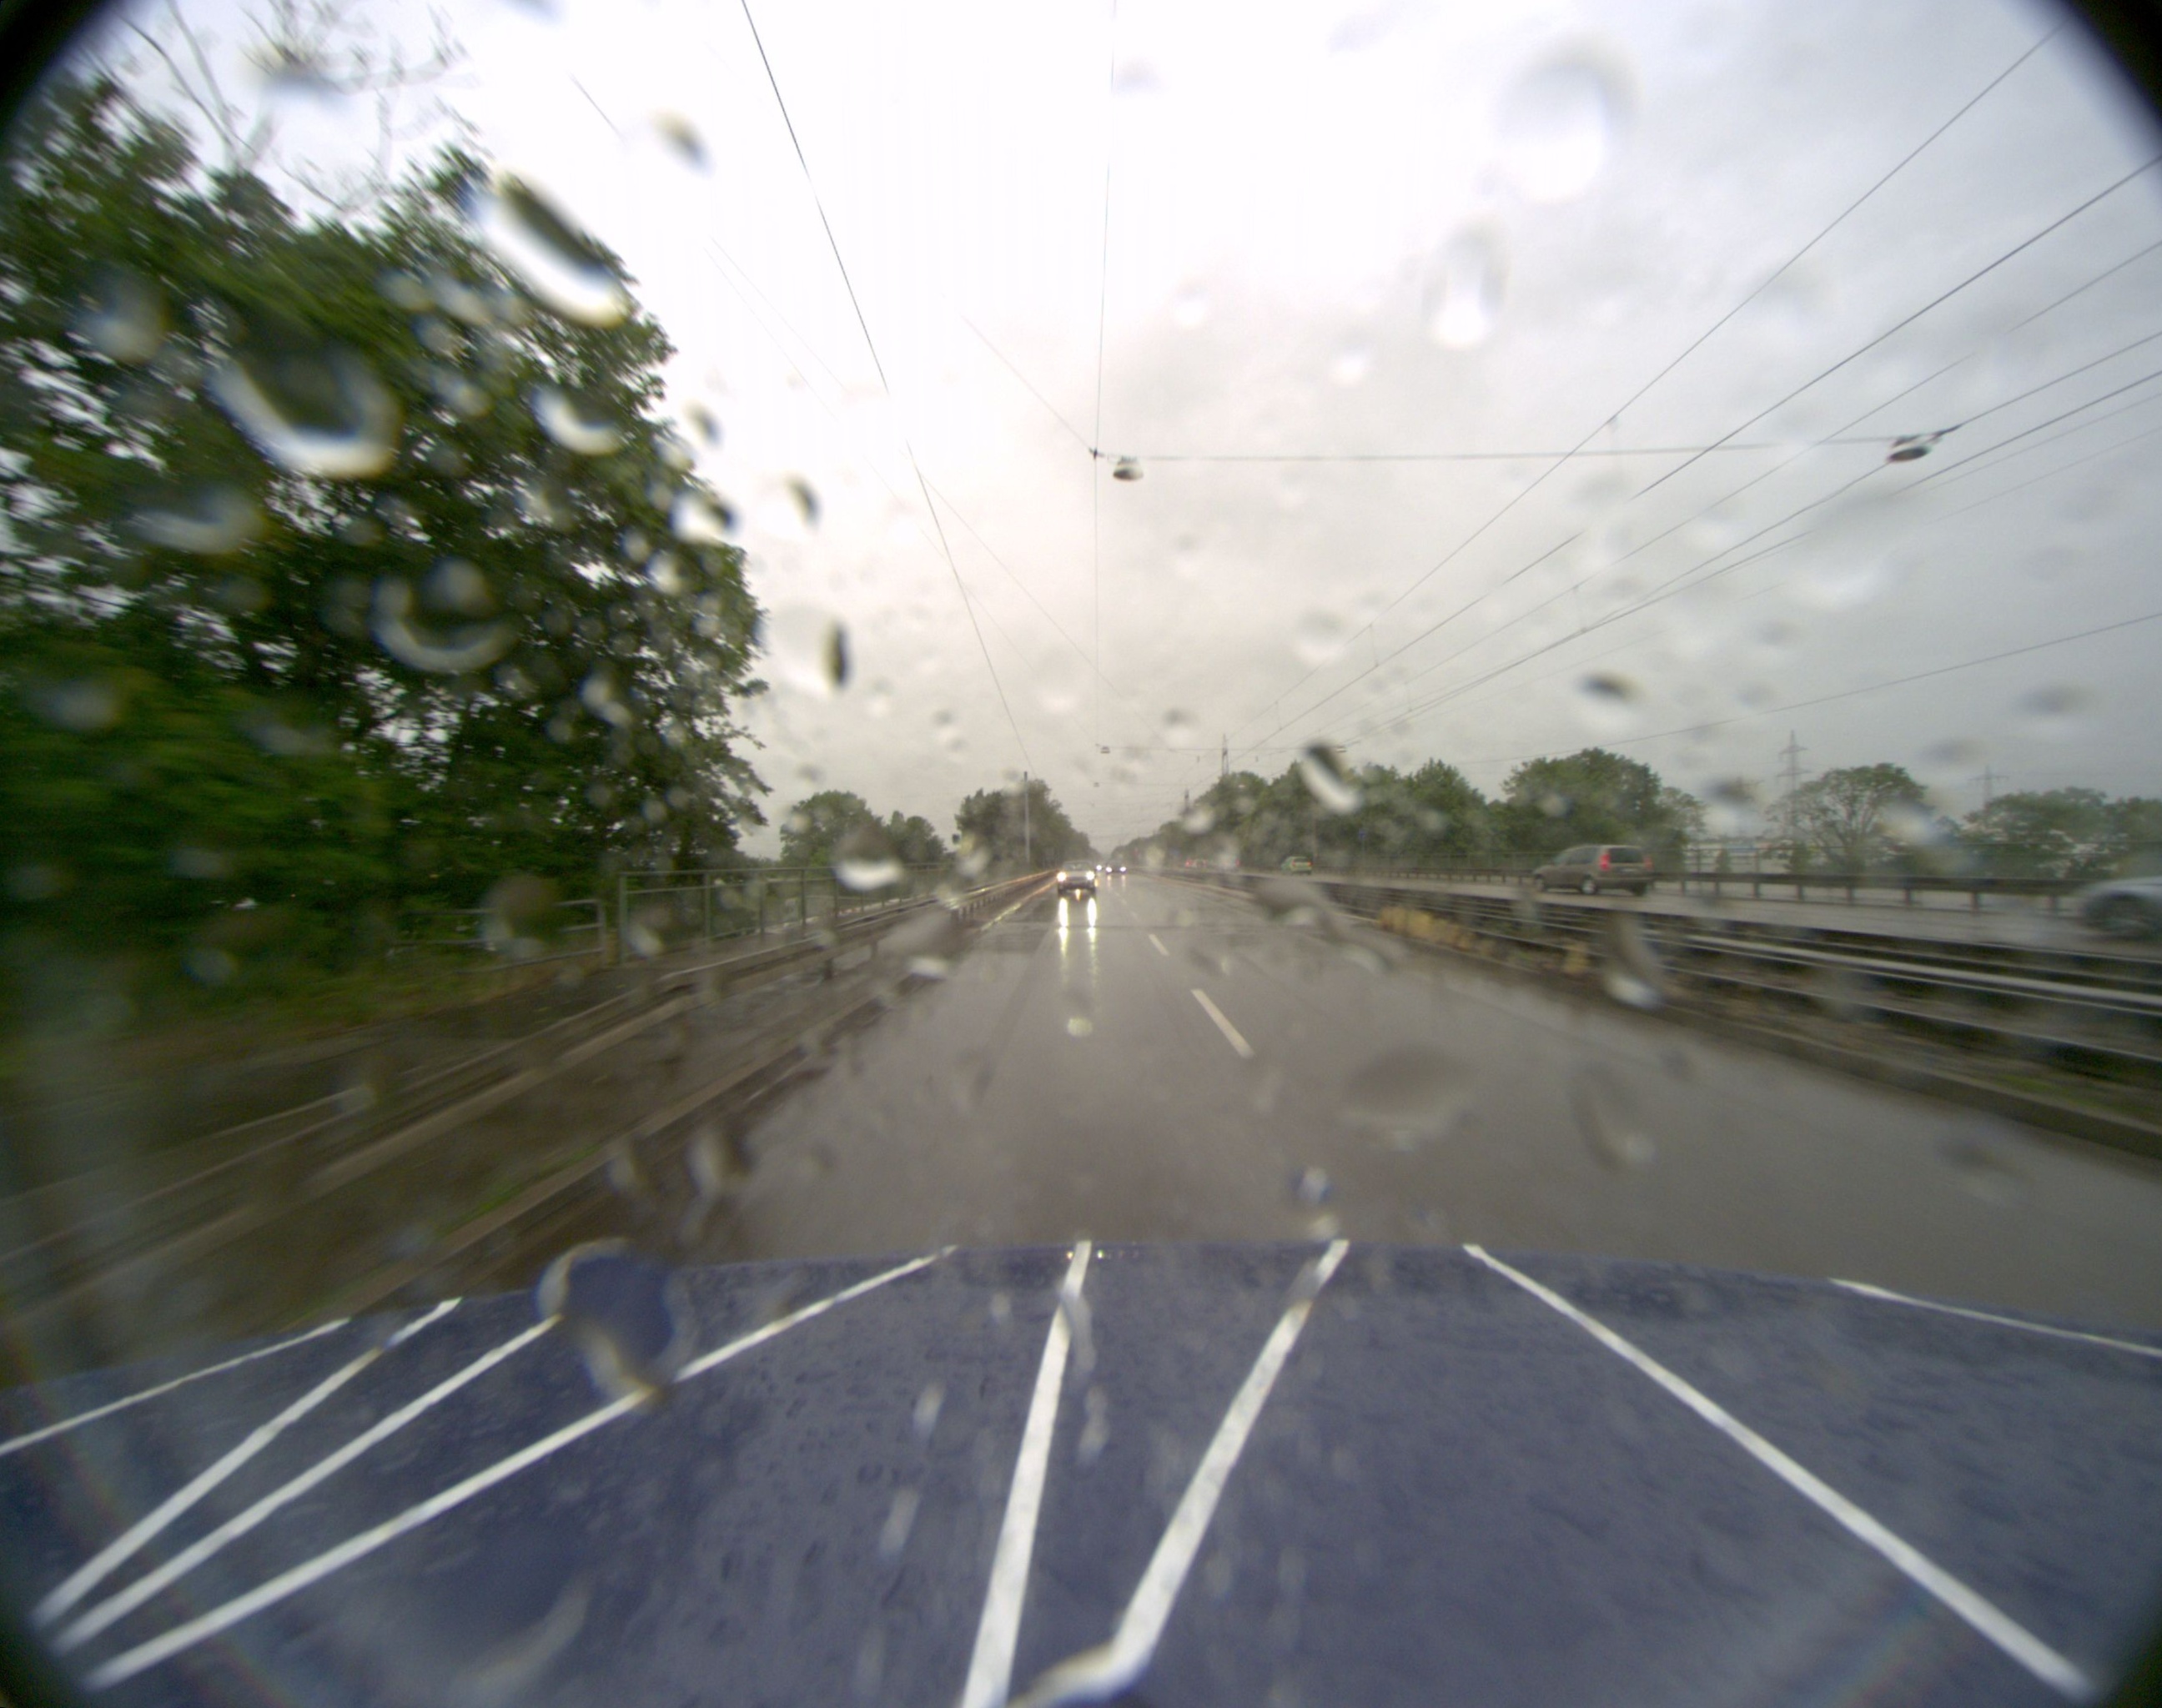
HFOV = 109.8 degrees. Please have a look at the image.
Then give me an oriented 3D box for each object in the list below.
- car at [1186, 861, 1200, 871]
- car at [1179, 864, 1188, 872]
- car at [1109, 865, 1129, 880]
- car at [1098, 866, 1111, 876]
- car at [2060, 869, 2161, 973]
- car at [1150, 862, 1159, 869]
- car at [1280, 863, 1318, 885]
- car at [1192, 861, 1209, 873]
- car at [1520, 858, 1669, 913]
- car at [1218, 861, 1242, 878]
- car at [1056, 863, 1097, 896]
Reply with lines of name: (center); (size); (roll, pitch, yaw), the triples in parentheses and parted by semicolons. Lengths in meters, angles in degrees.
car: (21.250, 2.301, 144.067); (1.837, 1.701, 4.661); (-5, 0, 1)
car: (23.476, 3.108, 174.173); (1.777, 1.621, 3.672); (-5, 0, 5)
car: (3.917, 1.930, 79.336); (1.971, 1.412, 4.000); (0, 0, 1)
car: (3.524, 2.480, 113.916); (1.971, 1.412, 4.000); (0, 0, 1)
car: (15.781, 0.906, 9.039); (1.999, 1.380, 4.853); (-1, 0, 0)
car: (18.162, 2.846, 188.256); (1.777, 1.621, 3.671); (-5, 0, 1)
car: (17.248, 1.592, 60.288); (1.851, 1.585, 4.000); (-2, 0, 1)
car: (17.874, 1.925, 113.823); (1.998, 1.608, 4.000); (-1, 0, 1)
car: (16.726, 0.963, 25.040); (1.846, 1.565, 4.384); (-2, 0, -1)
car: (17.241, 1.776, 87.906); (1.853, 1.821, 4.394); (-5, 0, 1)
car: (-0.171, 1.126, 34.870); (1.751, 1.412, 4.000); (0, 0, 1)
